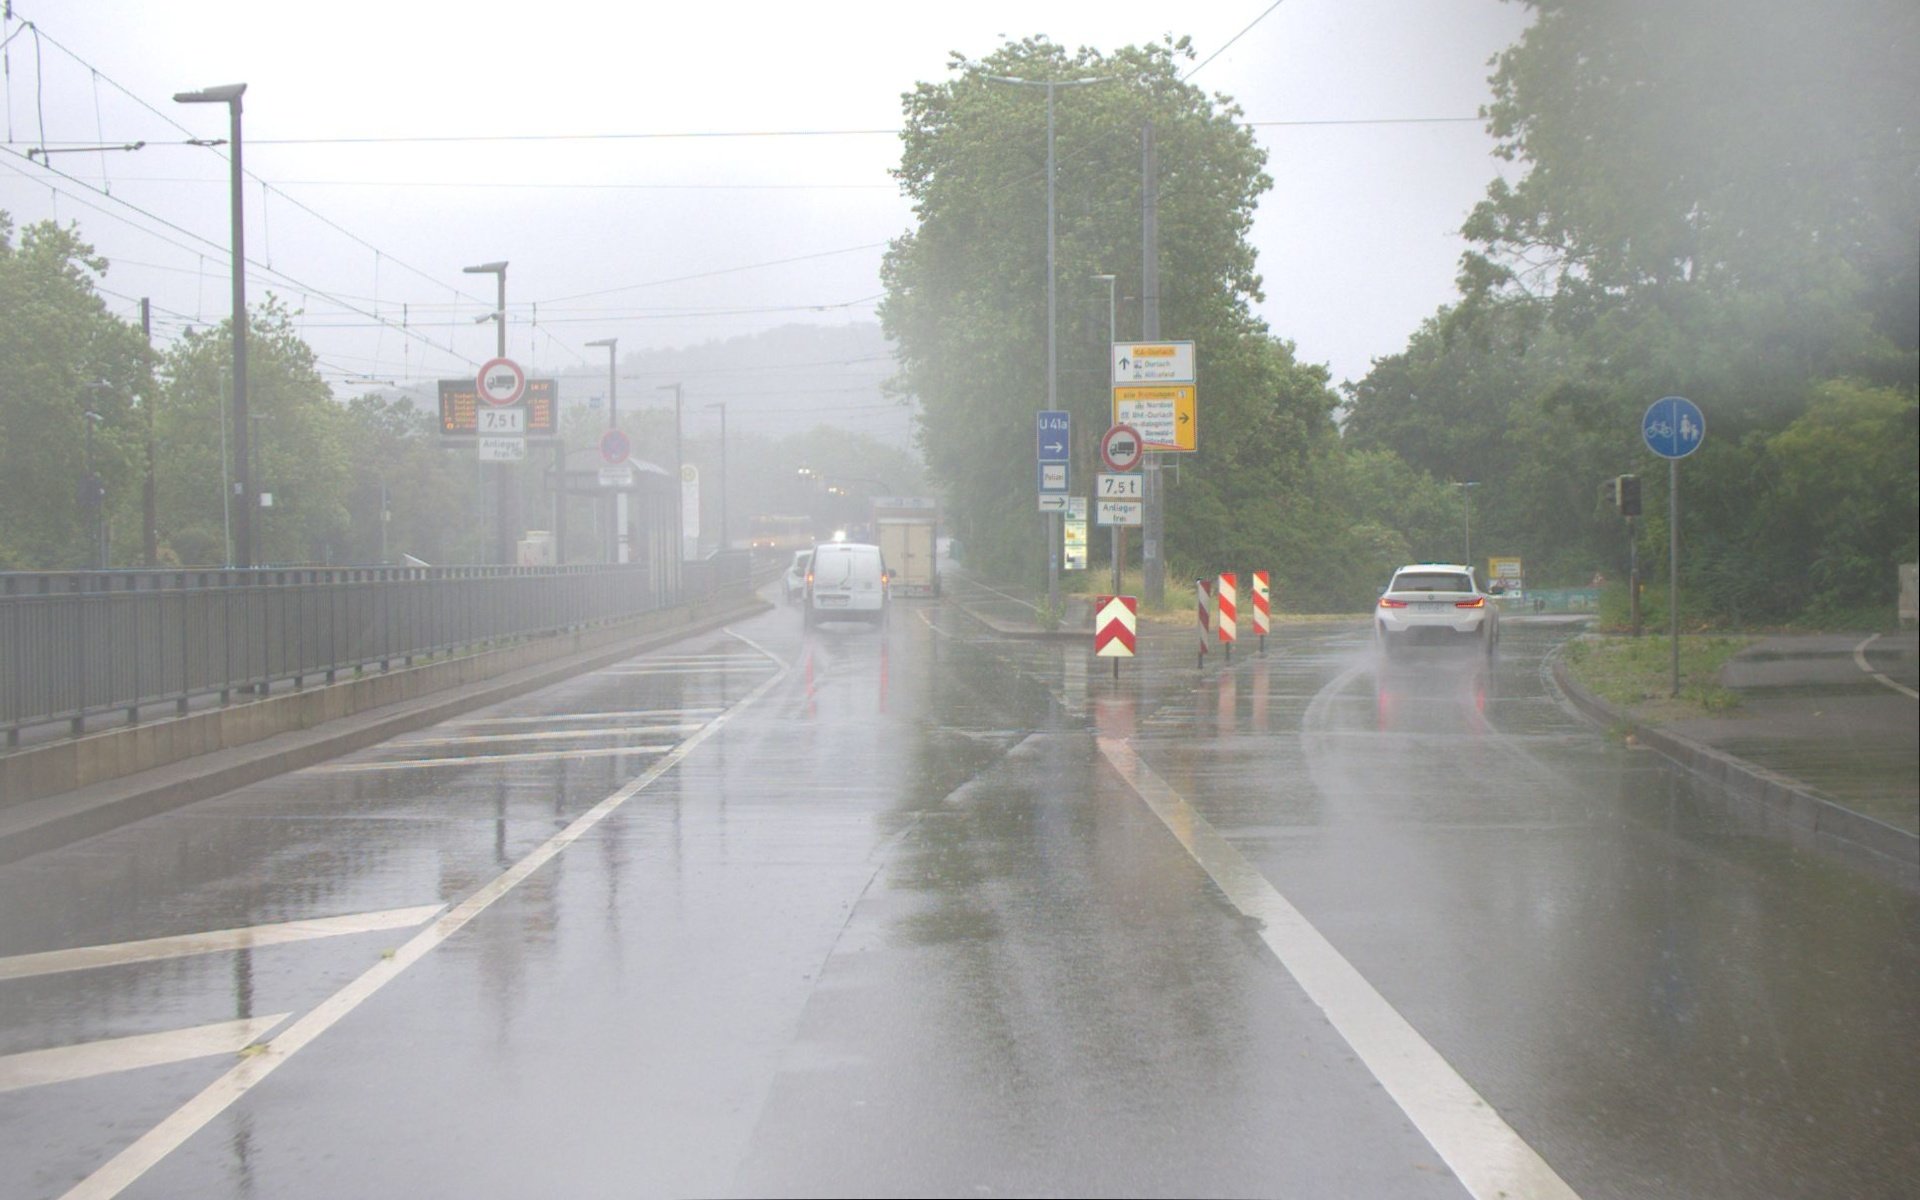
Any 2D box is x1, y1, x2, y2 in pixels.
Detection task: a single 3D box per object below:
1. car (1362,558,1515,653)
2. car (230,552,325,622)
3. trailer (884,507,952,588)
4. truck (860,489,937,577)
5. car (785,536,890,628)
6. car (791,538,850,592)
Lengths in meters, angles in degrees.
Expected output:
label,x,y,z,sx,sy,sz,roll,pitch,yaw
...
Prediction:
label,x,y,z,sx,sy,sz,roll,pitch,yaw
car,7.638,0.057,54.605,1.889,1.426,3.997,0,1,16
car,-20.051,-0.375,101.192,1.993,2.007,4.000,0,0,0
trailer,-1.441,-1.782,119.348,2.166,2.748,5.676,0,0,1
truck,-2.753,-2.851,150.327,2.775,3.691,9.854,0,0,-5
car,-2.566,-0.392,71.243,1.993,1.842,4.001,0,1,-4
car,-4.316,-1.071,106.814,1.786,1.637,3.968,0,0,-1
